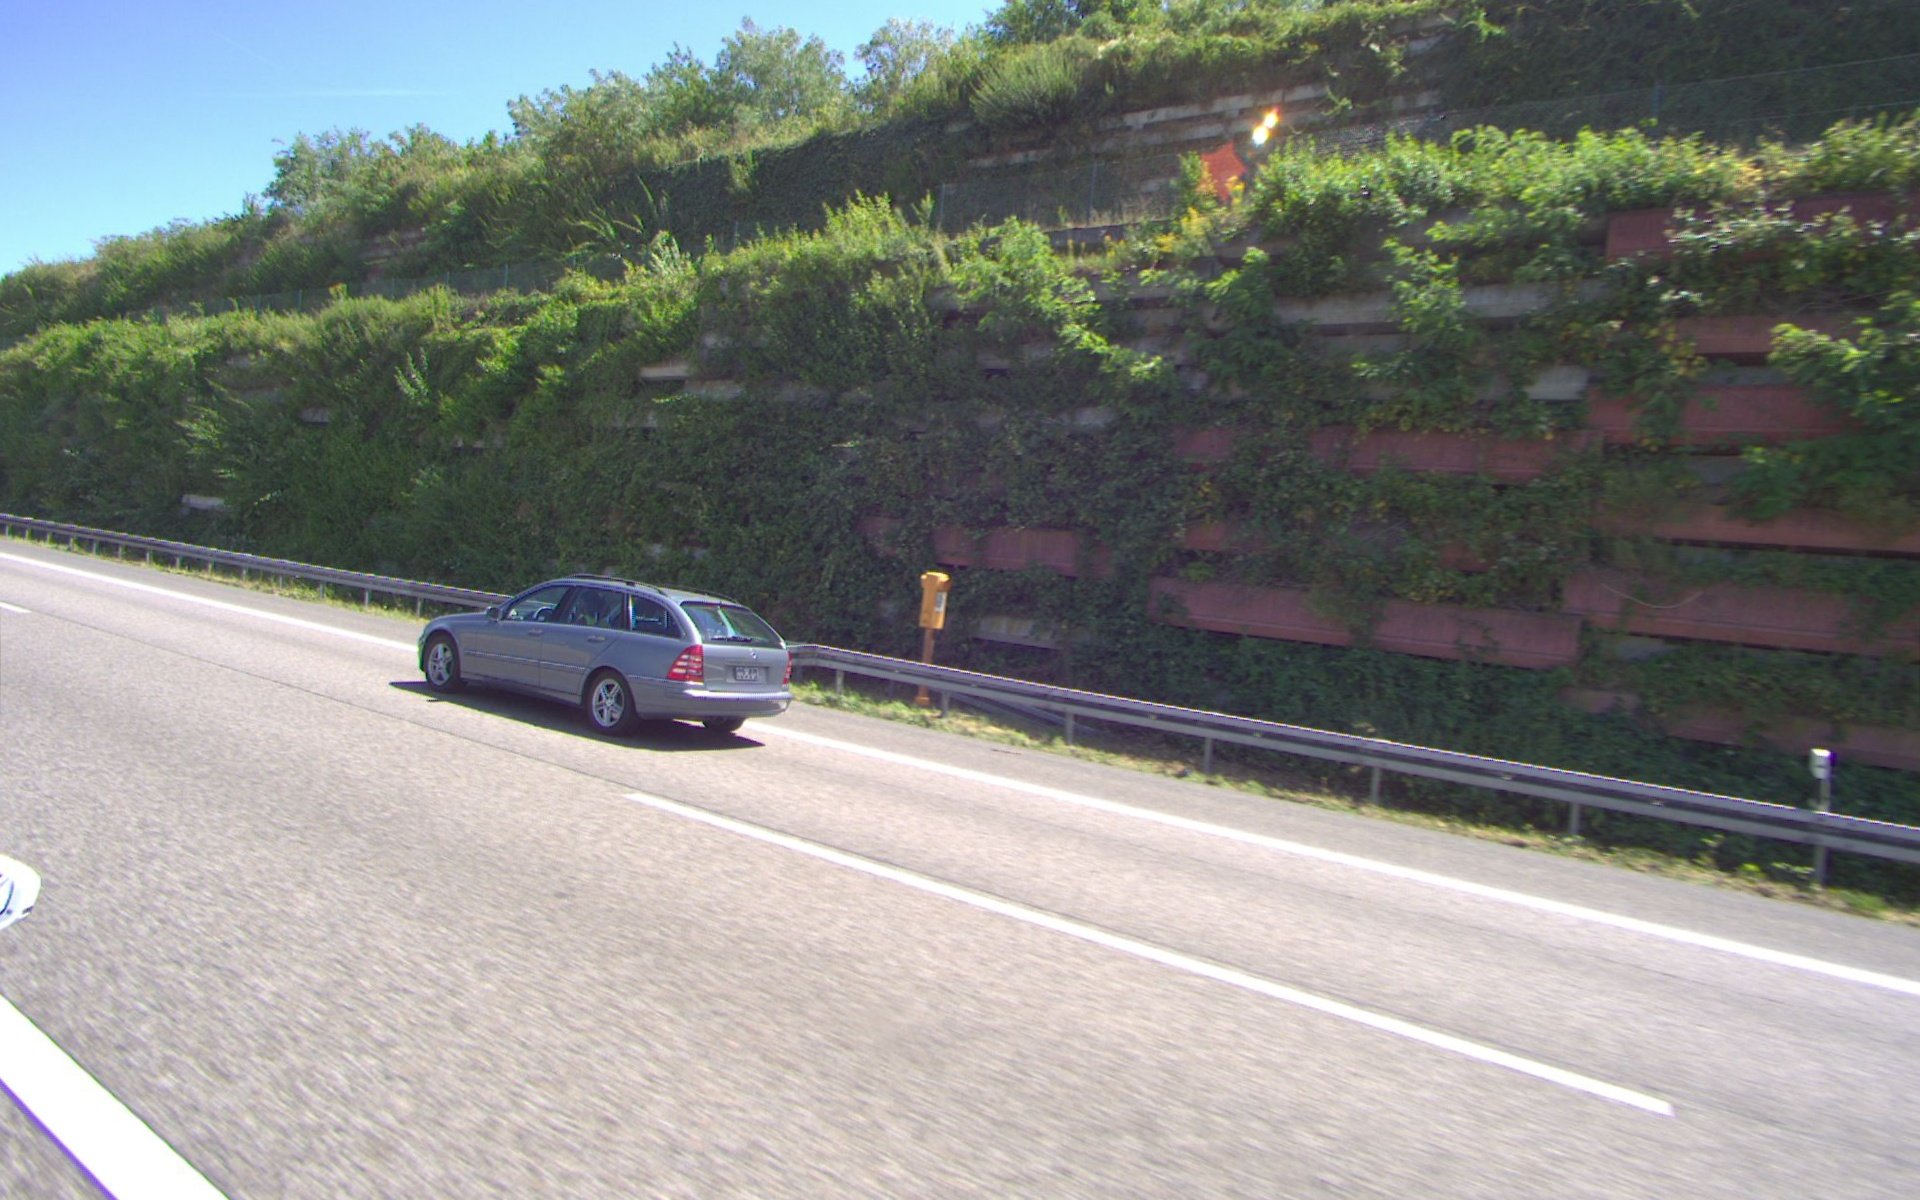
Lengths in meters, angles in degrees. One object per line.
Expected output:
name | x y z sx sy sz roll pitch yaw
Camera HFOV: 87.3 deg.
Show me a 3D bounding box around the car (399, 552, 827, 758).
car | -3.715 0.495 10.533 4.378 1.445 1.687 7 -1 31
